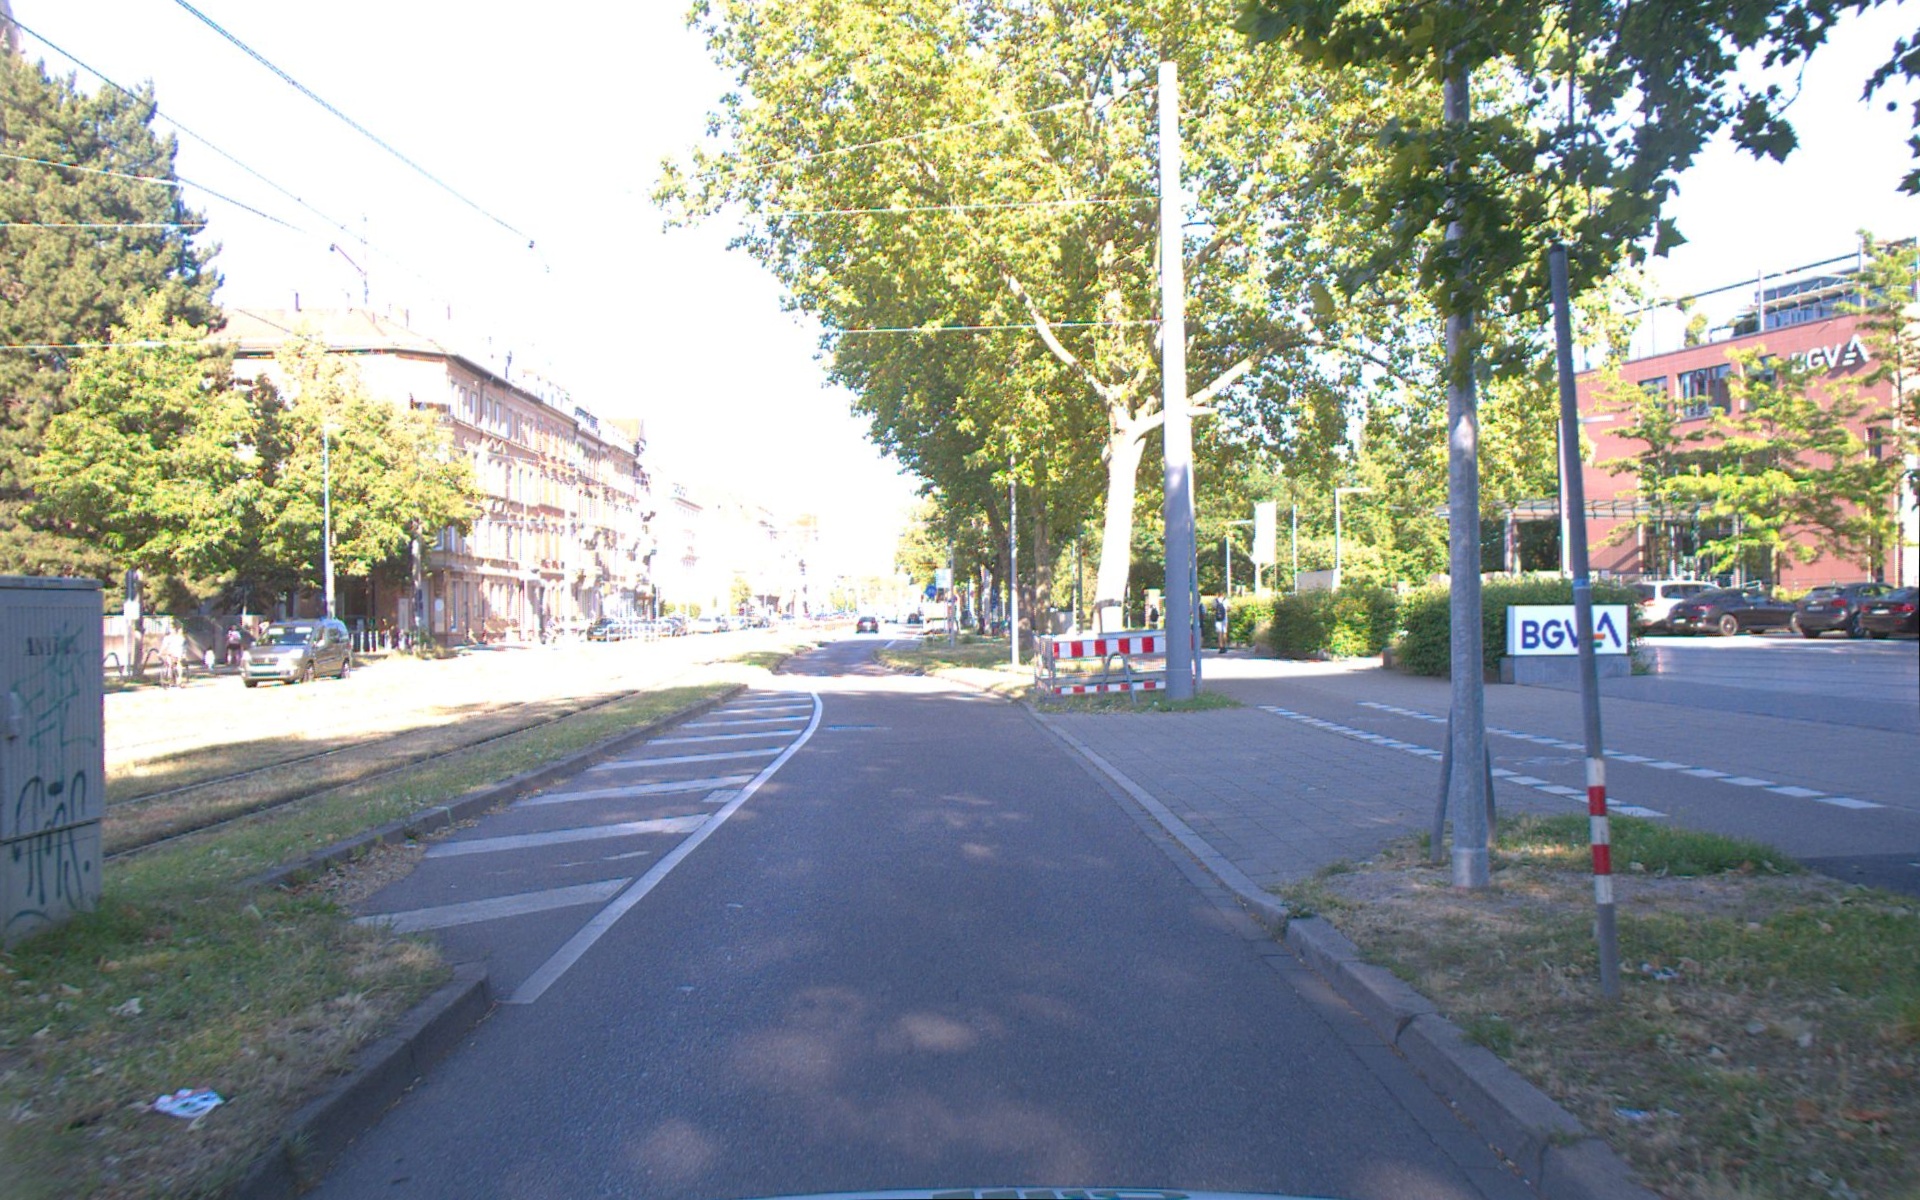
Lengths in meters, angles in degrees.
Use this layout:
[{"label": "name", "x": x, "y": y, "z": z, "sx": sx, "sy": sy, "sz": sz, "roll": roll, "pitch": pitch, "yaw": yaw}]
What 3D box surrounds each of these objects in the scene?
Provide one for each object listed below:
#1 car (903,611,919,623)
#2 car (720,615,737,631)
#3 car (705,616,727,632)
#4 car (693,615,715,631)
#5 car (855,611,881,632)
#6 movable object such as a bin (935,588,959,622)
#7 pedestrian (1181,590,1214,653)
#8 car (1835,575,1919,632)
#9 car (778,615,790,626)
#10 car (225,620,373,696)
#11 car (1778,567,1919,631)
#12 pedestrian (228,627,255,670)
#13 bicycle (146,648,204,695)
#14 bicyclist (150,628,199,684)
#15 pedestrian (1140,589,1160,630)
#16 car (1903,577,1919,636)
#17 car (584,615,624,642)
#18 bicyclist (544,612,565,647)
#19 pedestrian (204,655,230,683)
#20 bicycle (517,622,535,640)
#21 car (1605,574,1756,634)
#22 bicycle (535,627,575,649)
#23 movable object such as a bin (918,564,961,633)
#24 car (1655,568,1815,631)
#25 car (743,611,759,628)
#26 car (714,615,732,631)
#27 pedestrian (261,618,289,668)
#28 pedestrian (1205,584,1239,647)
[{"label": "car", "x": -7.565, "y": 2.626, "z": 254.274, "sx": 1.956, "sy": 1.892, "sz": 3.993, "roll": 1, "pitch": -1, "yaw": -7}, {"label": "car", "x": -25.821, "y": 2.565, "z": 184.568, "sx": 1.496, "sy": 1.588, "sz": 3.222, "roll": 1, "pitch": 0, "yaw": -2}, {"label": "car", "x": -25.435, "y": 2.491, "z": 172.497, "sx": 1.706, "sy": 1.588, "sz": 3.766, "roll": 1, "pitch": 0, "yaw": -2}, {"label": "car", "x": -25.940, "y": 2.322, "z": 167.727, "sx": 1.706, "sy": 1.588, "sz": 3.766, "roll": 1, "pitch": 0, "yaw": -2}, {"label": "car", "x": -7.667, "y": 1.765, "z": 138.388, "sx": 1.953, "sy": 1.713, "sz": 3.999, "roll": 1, "pitch": -1, "yaw": -1}, {"label": "movable object such as a bin", "x": -1.233, "y": 0.475, "z": 154.384, "sx": 1.929, "sy": 3.065, "sz": 4.794, "roll": -4, "pitch": 0, "yaw": -2}, {"label": "pedestrian", "x": 7.055, "y": 0.637, "z": 49.136, "sx": 0.735, "sy": 1.825, "sz": 1.086, "roll": -2, "pitch": -1, "yaw": -1}, {"label": "car", "x": 26.250, "y": 0.035, "z": 44.791, "sx": 4.603, "sy": 1.407, "sz": 1.962, "roll": -2, "pitch": 1, "yaw": -20}, {"label": "car", "x": -27.265, "y": 3.158, "z": 256.275, "sx": 1.496, "sy": 1.588, "sz": 3.222, "roll": 1, "pitch": 0, "yaw": -2}, {"label": "car", "x": -18.113, "y": 1.567, "z": 45.565, "sx": 1.898, "sy": 1.952, "sz": 4.475, "roll": 1, "pitch": -1, "yaw": 5}, {"label": "car", "x": 26.042, "y": -0.058, "z": 47.420, "sx": 4.603, "sy": 1.626, "sz": 2.060, "roll": -2, "pitch": 1, "yaw": -20}, {"label": "pedestrian", "x": -26.943, "y": 1.820, "z": 62.041, "sx": 0.637, "sy": 1.566, "sz": 0.783, "roll": -2, "pitch": -1, "yaw": -2}, {"label": "bicycle", "x": -21.531, "y": 1.948, "z": 45.376, "sx": 0.759, "sy": 1.214, "sz": 1.755, "roll": 1, "pitch": -1, "yaw": -1}, {"label": "bicyclist", "x": -21.520, "y": 1.528, "z": 45.331, "sx": 0.759, "sy": 1.507, "sz": 1.133, "roll": 1, "pitch": -1, "yaw": -1}, {"label": "pedestrian", "x": 7.542, "y": 0.379, "z": 65.713, "sx": 0.636, "sy": 1.566, "sz": 0.783, "roll": -2, "pitch": -1, "yaw": -1}, {"label": "car", "x": 26.791, "y": 0.076, "z": 42.478, "sx": 4.603, "sy": 1.491, "sz": 1.951, "roll": -2, "pitch": 1, "yaw": -20}, {"label": "car", "x": -25.253, "y": 1.993, "z": 117.461, "sx": 1.974, "sy": 1.784, "sz": 4.557, "roll": 1, "pitch": 0, "yaw": -2}, {"label": "bicyclist", "x": -21.412, "y": 1.543, "z": 87.346, "sx": 0.908, "sy": 1.745, "sz": 0.760, "roll": -2, "pitch": 3, "yaw": -26}, {"label": "pedestrian", "x": -26.185, "y": 2.430, "z": 58.293, "sx": 0.637, "sy": 0.948, "sz": 0.585, "roll": -2, "pitch": -1, "yaw": -4}, {"label": "bicycle", "x": -28.566, "y": 2.043, "z": 108.835, "sx": 0.685, "sy": 1.201, "sz": 1.751, "roll": 1, "pitch": -1, "yaw": -1}, {"label": "car", "x": 23.643, "y": 0.113, "z": 54.248, "sx": 4.606, "sy": 1.743, "sz": 1.836, "roll": -2, "pitch": 1, "yaw": -22}, {"label": "bicycle", "x": -21.406, "y": 1.998, "z": 87.380, "sx": 1.929, "sy": 1.058, "sz": 0.760, "roll": -3, "pitch": 3, "yaw": -26}, {"label": "movable object such as a bin", "x": -1.701, "y": -0.074, "z": 132.214, "sx": 3.025, "sy": 5.177, "sz": 8.888, "roll": -3, "pitch": 0, "yaw": -2}, {"label": "car", "x": 24.088, "y": -0.038, "z": 51.385, "sx": 4.606, "sy": 1.743, "sz": 1.836, "roll": -2, "pitch": 1, "yaw": -22}, {"label": "car", "x": -26.905, "y": 2.485, "z": 212.733, "sx": 1.624, "sy": 2.177, "sz": 3.524, "roll": 1, "pitch": 0, "yaw": -2}, {"label": "car", "x": -25.531, "y": 2.504, "z": 178.039, "sx": 1.496, "sy": 1.588, "sz": 3.222, "roll": 1, "pitch": 0, "yaw": -2}, {"label": "pedestrian", "x": -25.229, "y": 1.561, "z": 60.937, "sx": 0.637, "sy": 1.806, "sz": 0.888, "roll": -2, "pitch": -1, "yaw": -2}, {"label": "pedestrian", "x": 7.827, "y": 0.474, "z": 49.440, "sx": 0.789, "sy": 1.825, "sz": 1.109, "roll": -2, "pitch": -1, "yaw": -1}]
